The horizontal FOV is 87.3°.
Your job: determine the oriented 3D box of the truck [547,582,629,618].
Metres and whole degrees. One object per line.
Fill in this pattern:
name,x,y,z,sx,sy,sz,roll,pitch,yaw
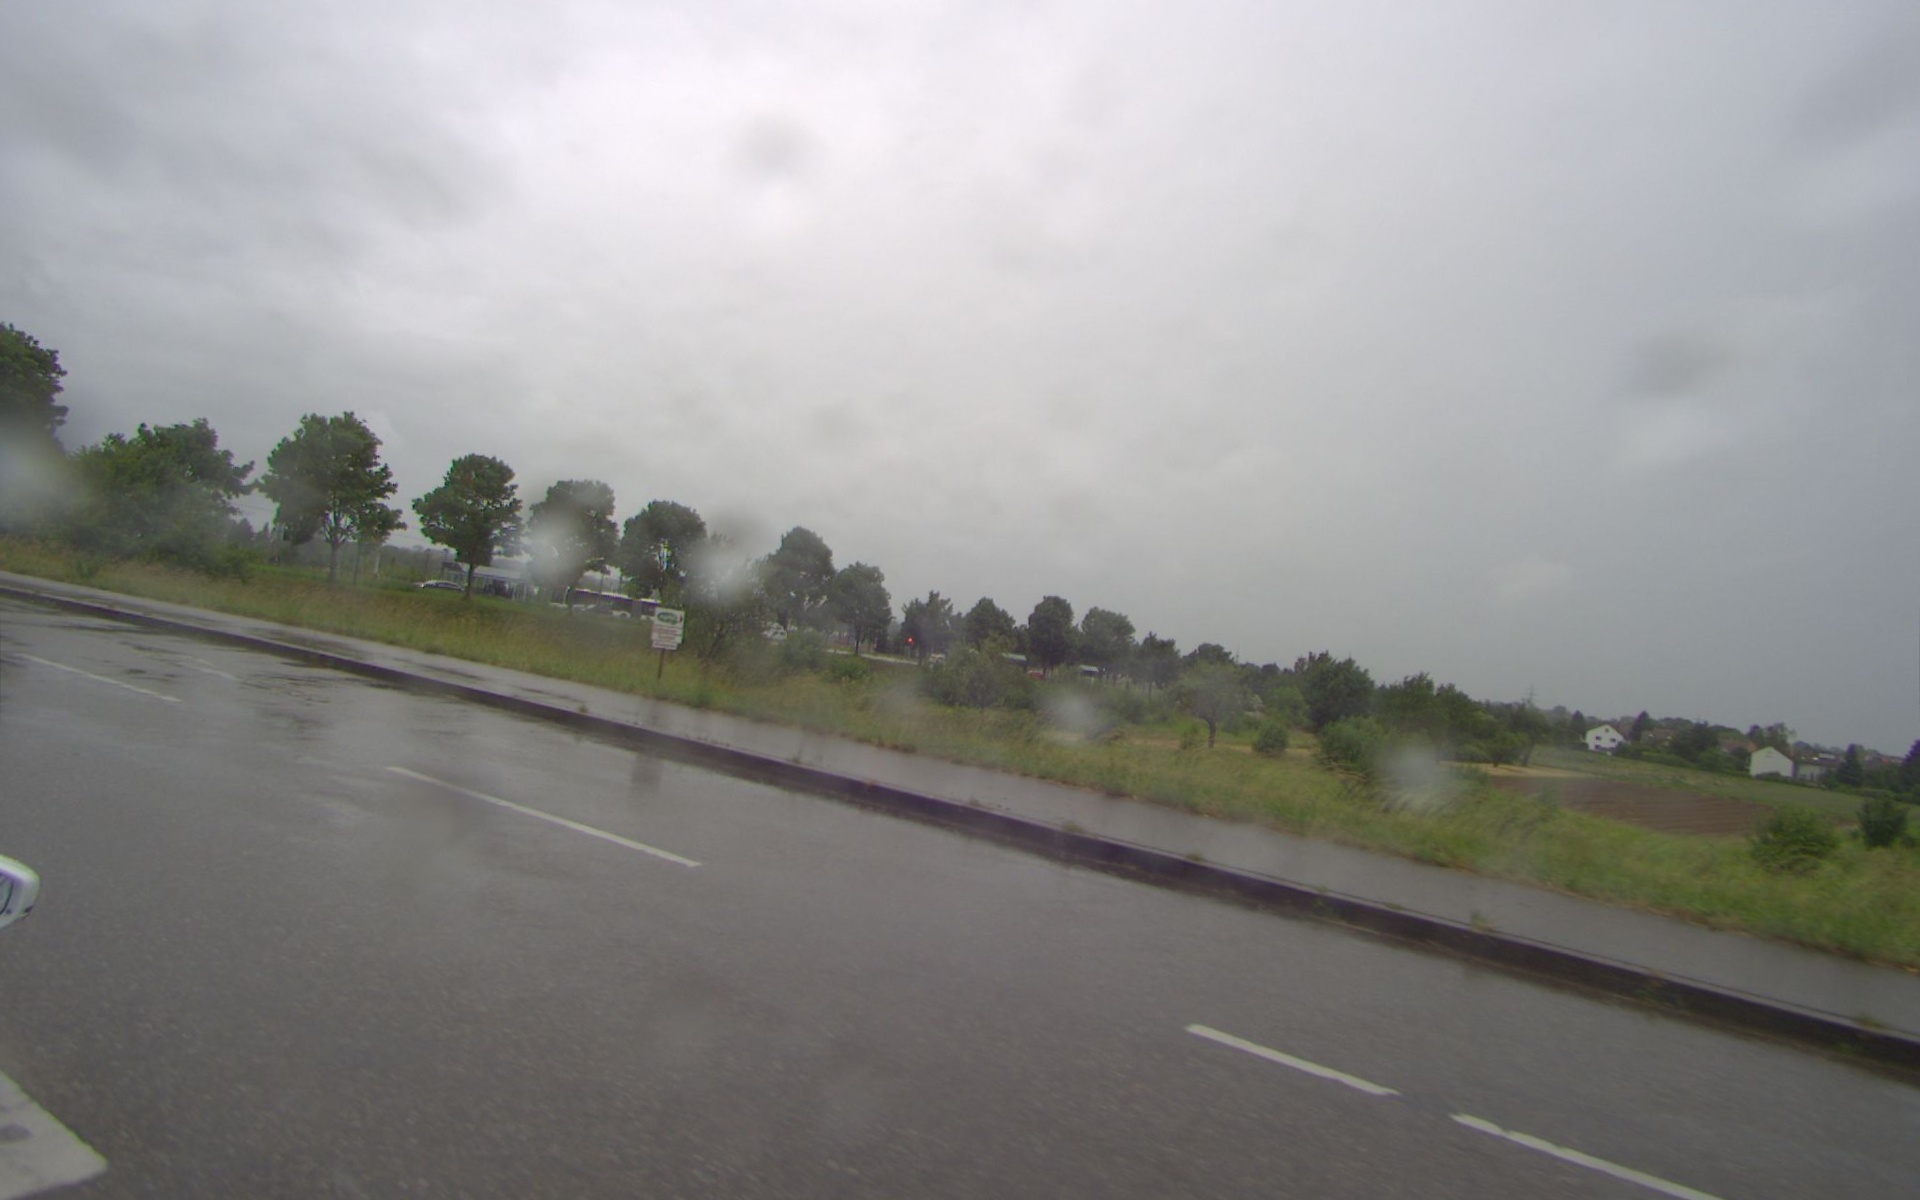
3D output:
truck,-41.773,0.056,113.307,2.610,2.863,8.847,7,-3,28

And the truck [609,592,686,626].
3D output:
truck,-37.540,1.174,121.295,2.610,2.802,9.352,7,-3,29

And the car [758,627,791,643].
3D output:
car,-25.086,4.724,136.147,1.791,1.570,4.687,7,-4,27
